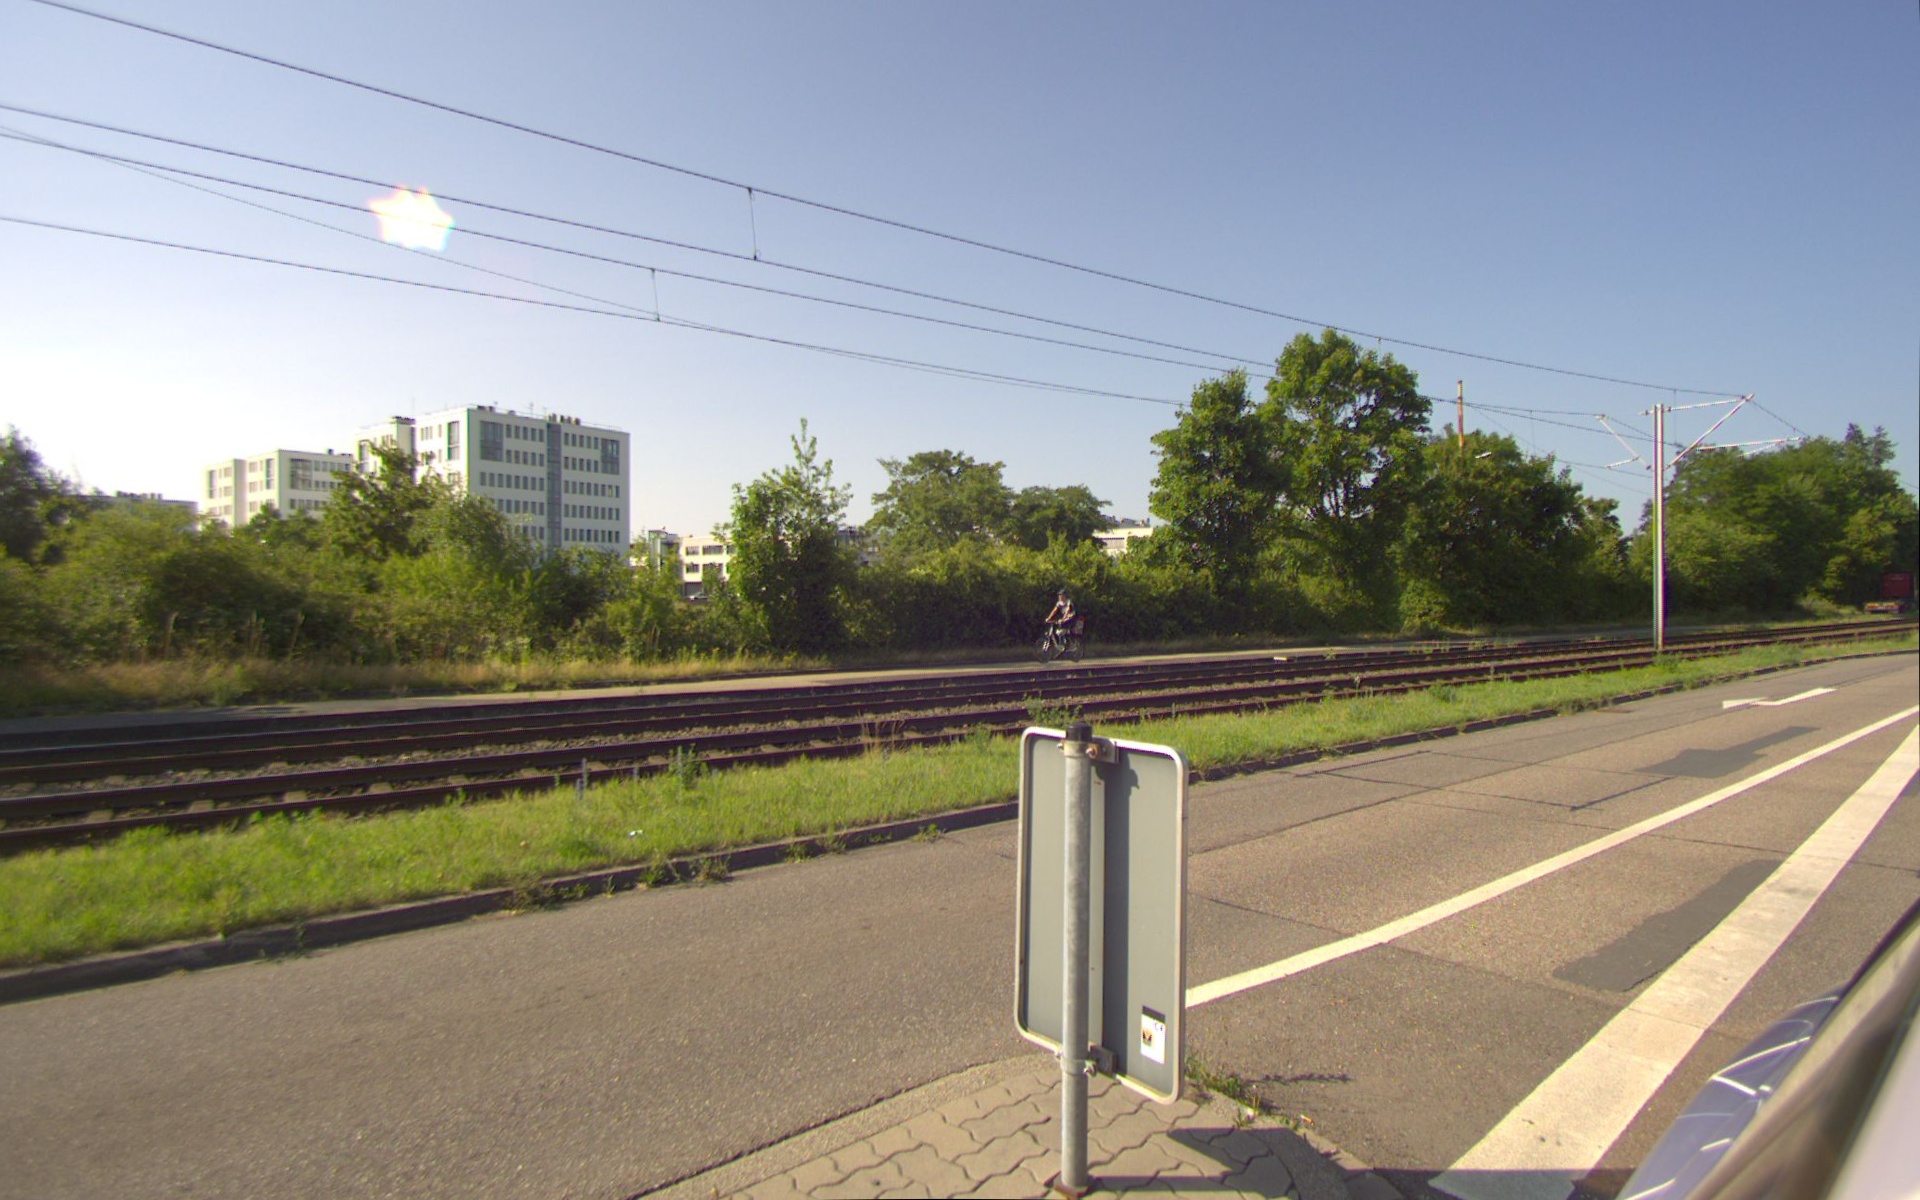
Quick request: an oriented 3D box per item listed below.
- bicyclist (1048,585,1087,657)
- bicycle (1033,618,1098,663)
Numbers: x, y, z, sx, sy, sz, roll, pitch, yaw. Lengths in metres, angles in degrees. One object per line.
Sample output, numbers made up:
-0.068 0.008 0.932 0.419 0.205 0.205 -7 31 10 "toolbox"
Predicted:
2.791 0.525 26.219 0.705 1.831 0.707 0 0 -40 "bicyclist"
2.740 1.030 26.133 1.841 1.060 0.546 -1 0 -40 "bicycle"
